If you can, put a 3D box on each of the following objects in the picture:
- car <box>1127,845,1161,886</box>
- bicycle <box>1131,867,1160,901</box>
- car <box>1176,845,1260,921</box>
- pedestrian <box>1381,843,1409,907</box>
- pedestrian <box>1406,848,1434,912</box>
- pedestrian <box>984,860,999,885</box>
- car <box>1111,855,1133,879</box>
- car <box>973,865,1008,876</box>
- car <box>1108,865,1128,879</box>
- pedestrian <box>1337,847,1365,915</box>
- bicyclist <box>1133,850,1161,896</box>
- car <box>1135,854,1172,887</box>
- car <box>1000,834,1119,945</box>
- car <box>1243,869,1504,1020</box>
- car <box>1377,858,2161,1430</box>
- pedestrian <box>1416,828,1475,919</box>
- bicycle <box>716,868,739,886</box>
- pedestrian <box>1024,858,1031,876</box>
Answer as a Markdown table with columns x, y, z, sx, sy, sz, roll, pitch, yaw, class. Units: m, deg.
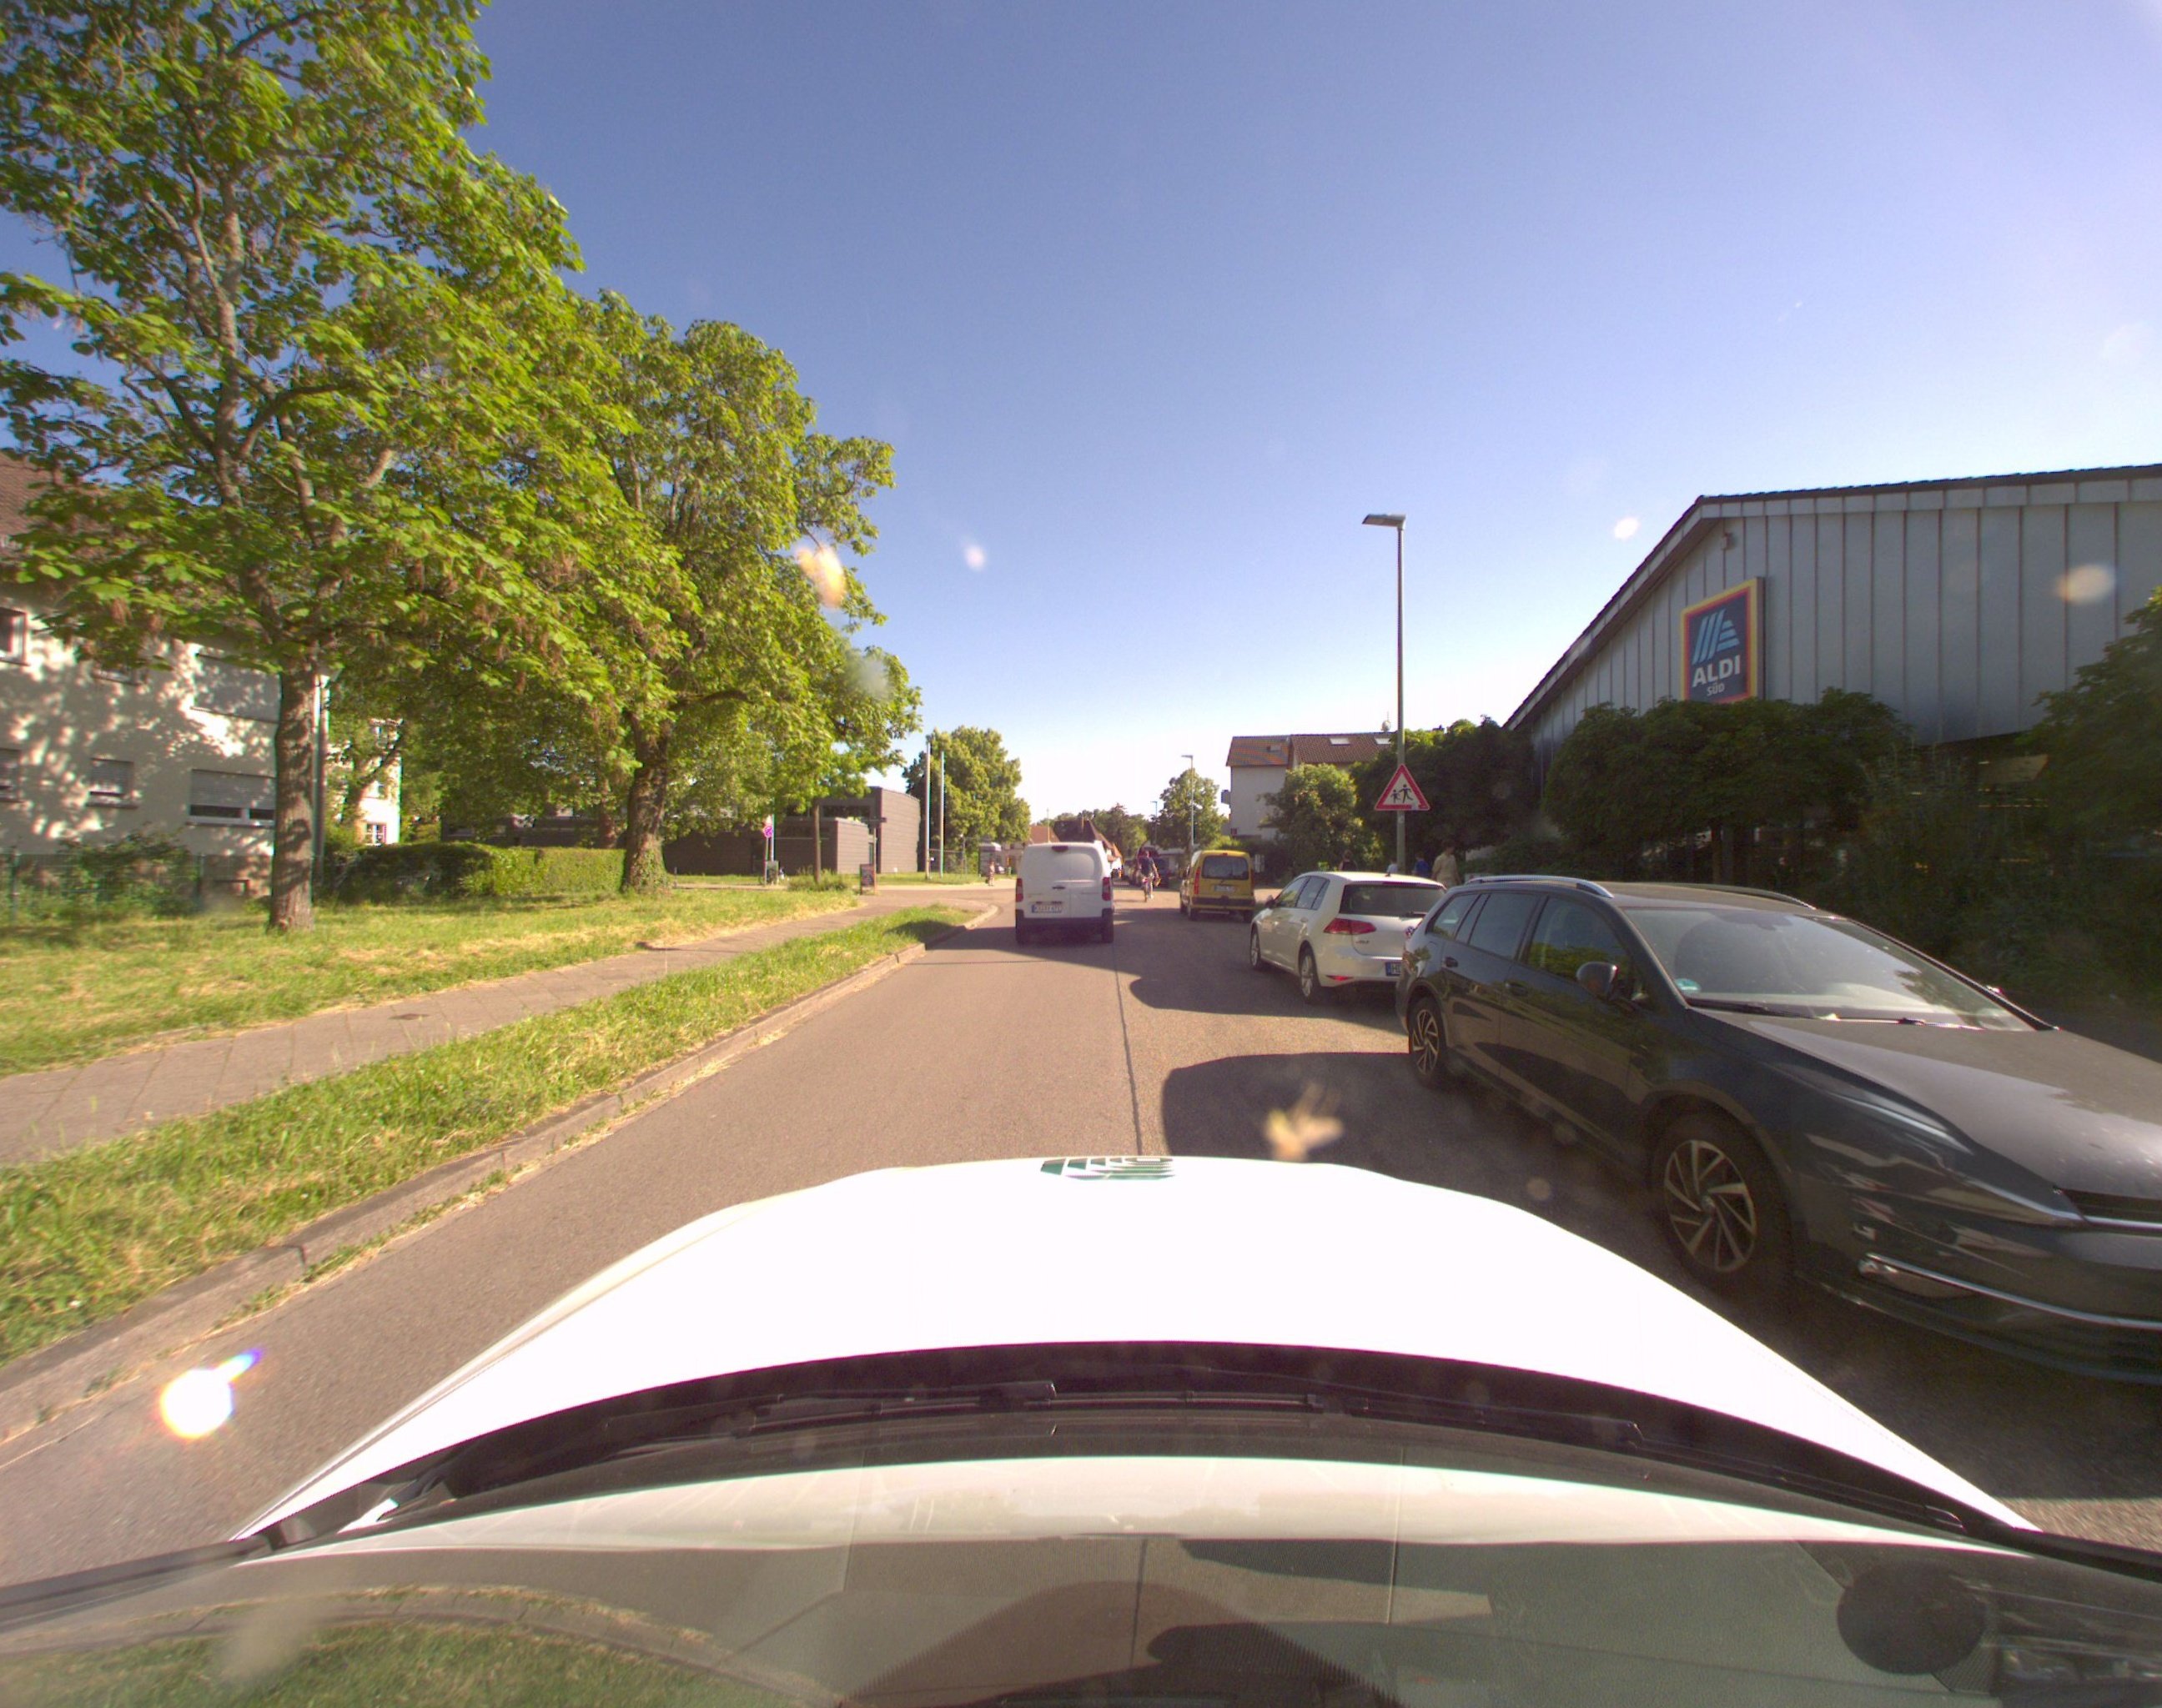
| x | y | z | sx | sy | sz | roll | pitch | yaw | class |
| --- | --- | --- | --- | --- | --- | --- | --- | --- | --- |
| 4.278 | 0.816 | 55.646 | 1.860 | 2.562 | 4.766 | 3 | -1 | 0 | car |
| 2.280 | 1.047 | 29.073 | 0.784 | 1.138 | 2.278 | 2 | -1 | -1 | bicycle |
| 3.587 | 0.723 | 21.946 | 1.717 | 1.837 | 4.002 | 1 | -1 | 2 | car |
| 8.174 | 0.551 | 21.188 | 0.564 | 1.637 | 0.547 | 0 | 0 | 6 | pedestrian |
| 8.795 | 0.659 | 21.142 | 0.564 | 1.637 | 0.547 | 0 | 0 | 6 | pedestrian |
| -5.356 | 1.117 | 48.878 | 0.505 | 1.446 | 0.643 | 3 | -1 | 34 | pedestrian |
| 3.721 | 1.206 | 74.890 | 1.798 | 2.069 | 3.999 | 3 | -1 | 0 | car |
| -11.607 | 2.109 | 104.507 | 3.945 | 1.429 | 1.724 | 1 | -1 | 19 | car |
| 5.162 | 2.512 | 112.656 | 1.791 | 1.842 | 4.016 | 2 | -1 | 16 | car |
| 6.569 | 0.651 | 19.828 | 0.564 | 1.637 | 0.547 | 0 | 0 | 6 | pedestrian |
| 2.359 | 0.676 | 29.041 | 0.902 | 1.584 | 0.966 | 1 | -1 | 0 | bicyclist |
| 4.260 | 0.992 | 48.462 | 1.798 | 1.785 | 3.999 | 3 | -1 | 0 | car |
| -0.271 | 0.614 | 16.198 | 1.985 | 1.882 | 4.292 | 1 | 0 | 3 | car |
| 3.326 | 0.942 | 10.144 | 1.820 | 1.452 | 3.999 | 1 | -1 | 0 | car |
| 3.185 | 0.755 | 4.252 | 1.800 | 1.443 | 4.365 | 1 | 0 | 2 | car |
| 7.659 | 0.396 | 17.147 | 0.793 | 1.861 | 0.872 | 1 | -1 | -6 | pedestrian |
| -18.216 | 1.182 | 41.989 | 1.025 | 0.887 | 0.434 | -1 | 1 | -43 | bicycle |
| -5.188 | 1.267 | 79.180 | 0.619 | 1.805 | 0.640 | 0 | -2 | 0 | pedestrian |
